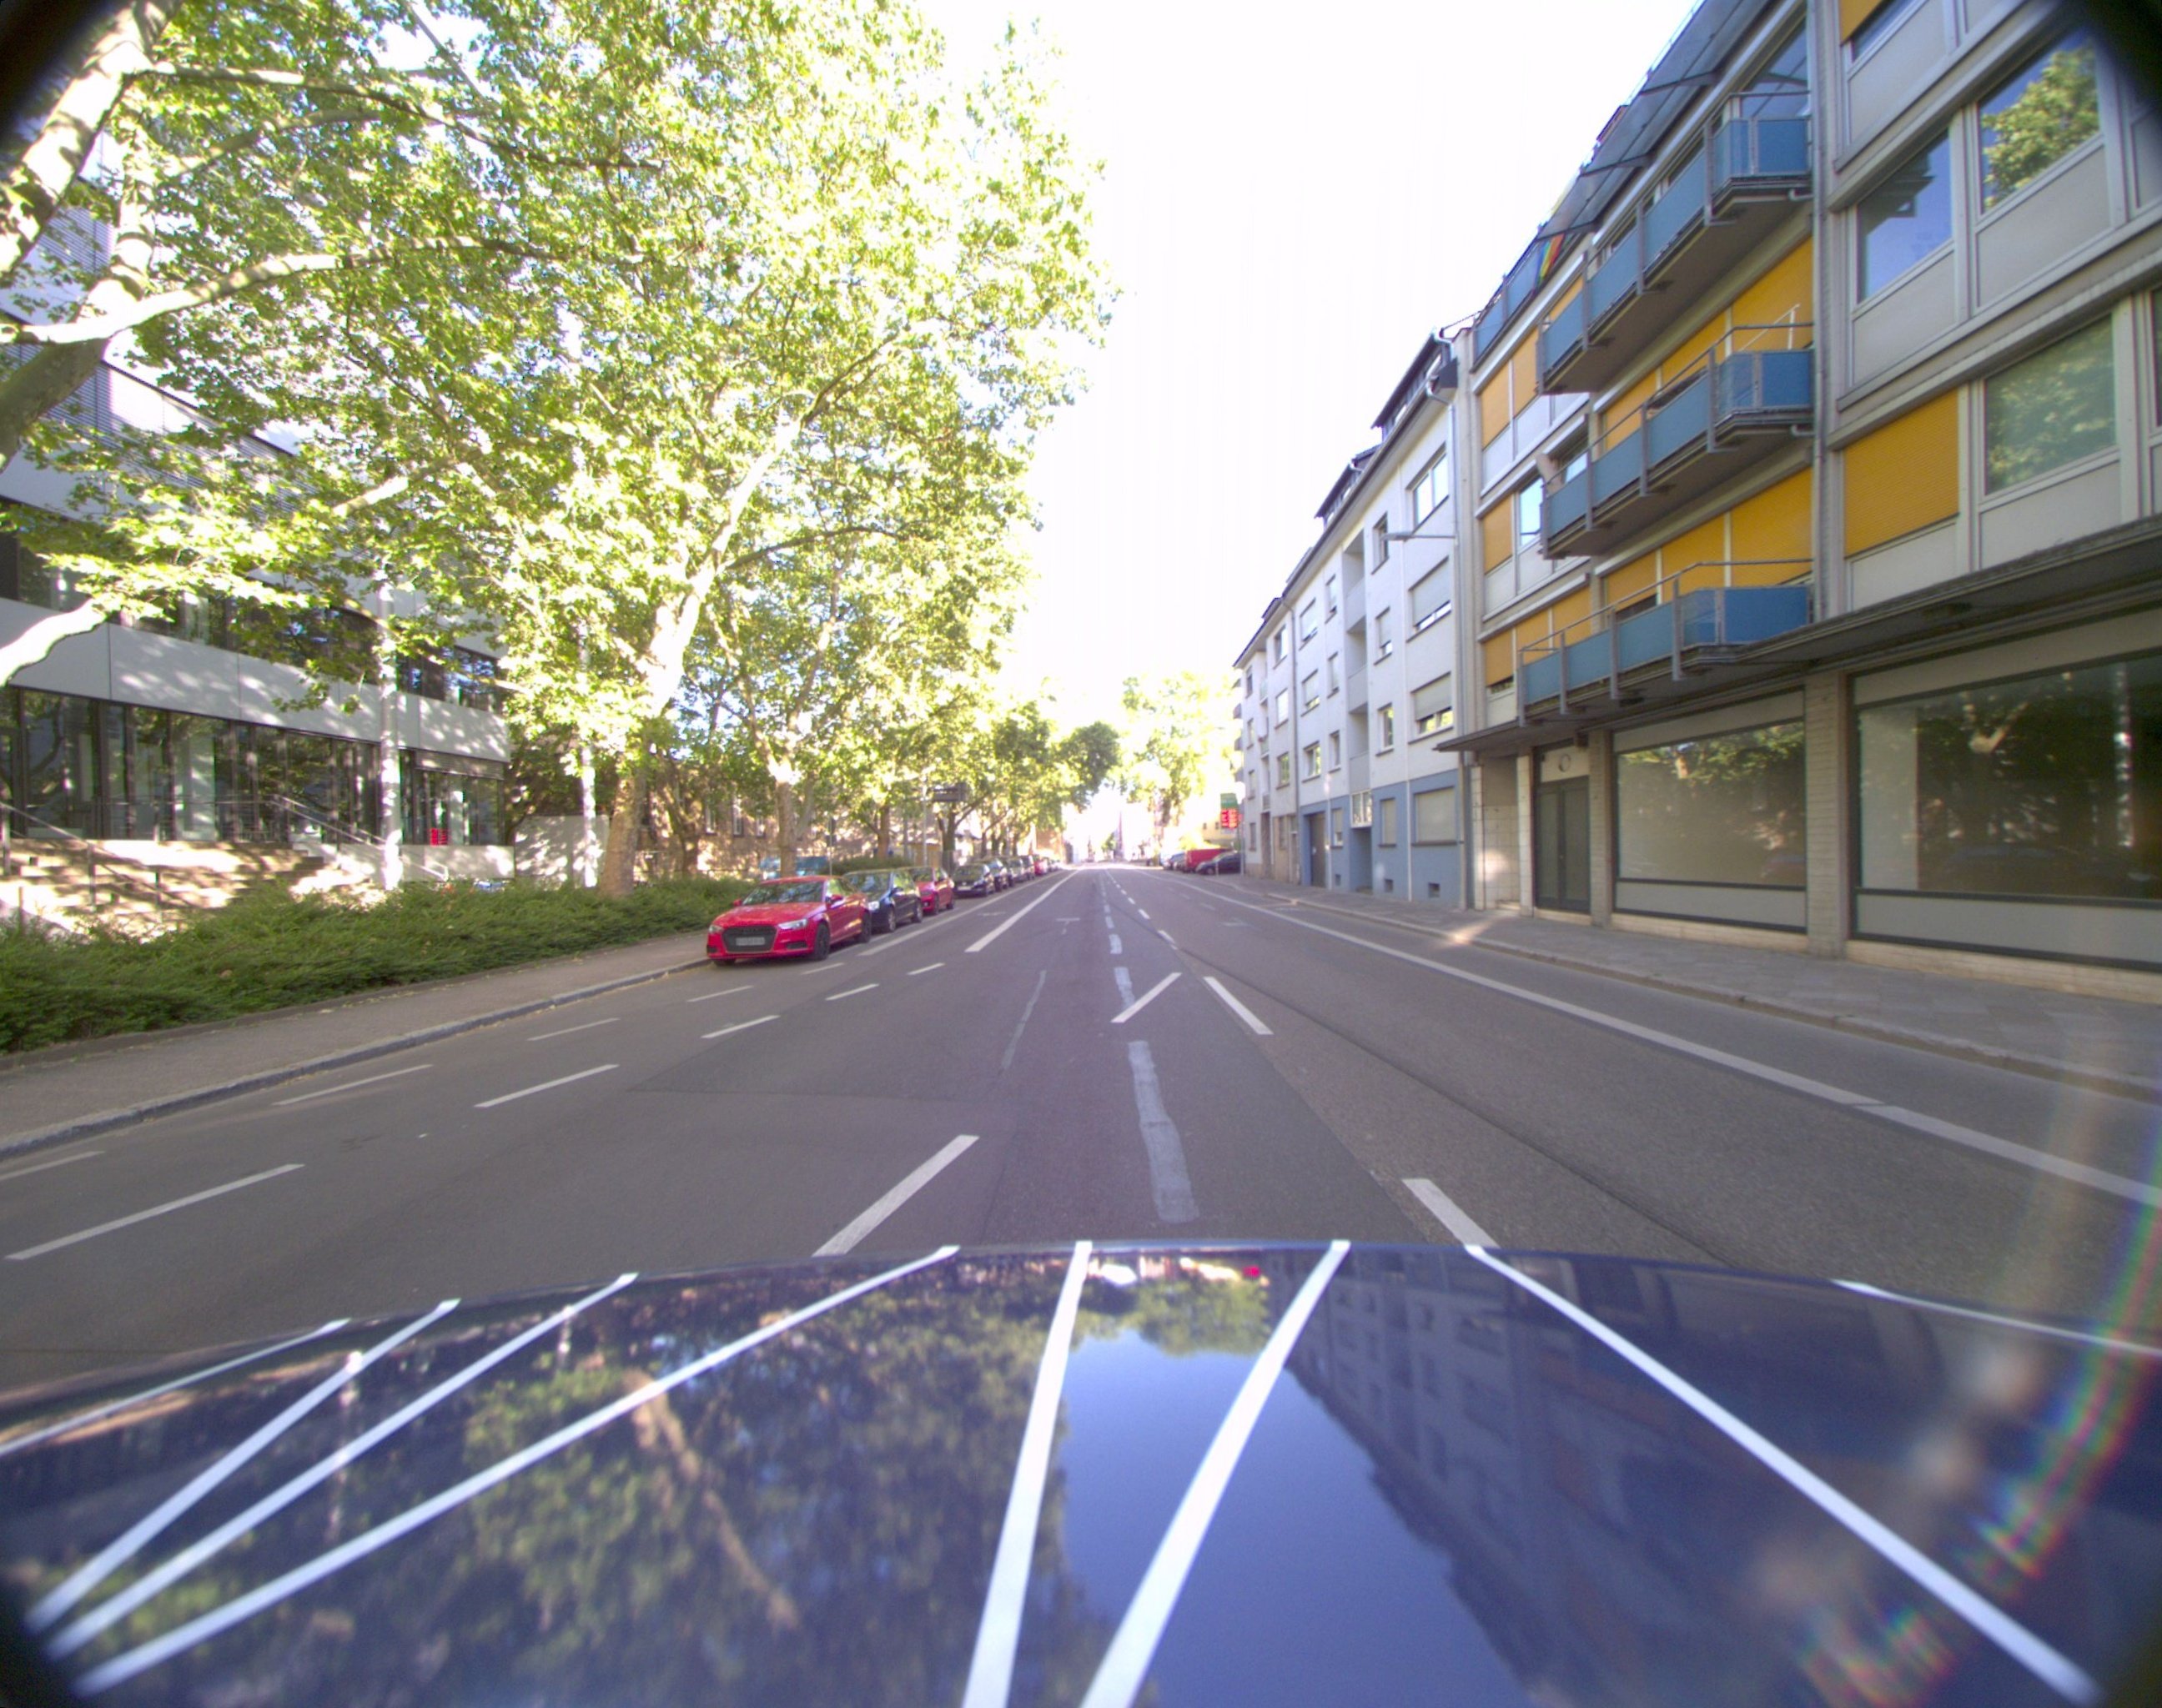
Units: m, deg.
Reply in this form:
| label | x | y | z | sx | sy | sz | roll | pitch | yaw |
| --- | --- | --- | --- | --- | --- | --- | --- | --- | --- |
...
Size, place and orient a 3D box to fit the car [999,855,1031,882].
| label | x | y | z | sx | sy | sz | roll | pitch | yaw |
| --- | --- | --- | --- | --- | --- | --- | --- | --- | --- |
| car | -4.387 | 0.953 | 50.891 | 1.697 | 1.618 | 4.329 | -4 | 0 | -1 |

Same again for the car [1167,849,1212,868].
| label | x | y | z | sx | sy | sz | roll | pitch | yaw |
| --- | --- | --- | --- | --- | --- | --- | --- | --- | --- |
| car | 10.877 | 0.436 | 76.150 | 4.204 | 1.674 | 2.028 | -3 | 0 | 1 |

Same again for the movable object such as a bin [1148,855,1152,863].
| label | x | y | z | sx | sy | sz | roll | pitch | yaw |
| --- | --- | --- | --- | --- | --- | --- | --- | --- | --- |
| movable object such as a bin | 10.484 | 0.757 | 115.347 | 0.595 | 1.065 | 0.644 | -1 | 1 | 1 |

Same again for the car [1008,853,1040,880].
| label | x | y | z | sx | sy | sz | roll | pitch | yaw |
| --- | --- | --- | --- | --- | --- | --- | --- | --- | --- |
| car | -4.118 | 0.853 | 55.426 | 1.697 | 1.802 | 4.130 | -4 | 0 | 3 |

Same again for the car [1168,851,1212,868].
| label | x | y | z | sx | sy | sz | roll | pitch | yaw |
| --- | --- | --- | --- | --- | --- | --- | --- | --- | --- |
| car | 10.474 | 0.540 | 73.208 | 3.997 | 1.447 | 1.916 | -3 | 0 | 1 |

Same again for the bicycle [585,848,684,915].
| label | x | y | z | sx | sy | sz | roll | pitch | yaw |
| --- | --- | --- | --- | --- | --- | --- | --- | --- | --- |
| bicycle | -13.995 | 0.848 | 23.856 | 2.604 | 2.002 | 0.742 | -1 | 1 | 1 |

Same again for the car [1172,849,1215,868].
| label | x | y | z | sx | sy | sz | roll | pitch | yaw |
| --- | --- | --- | --- | --- | --- | --- | --- | --- | --- |
| car | 10.484 | 0.384 | 71.043 | 3.694 | 1.504 | 1.831 | -4 | 0 | 1 |

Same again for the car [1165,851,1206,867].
| label | x | y | z | sx | sy | sz | roll | pitch | yaw |
| --- | --- | --- | --- | --- | --- | --- | --- | --- | --- |
| car | 10.827 | 0.527 | 78.685 | 3.997 | 1.424 | 1.853 | -3 | 0 | 1 |

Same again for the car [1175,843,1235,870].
| label | x | y | z | sx | sy | sz | roll | pitch | yaw |
| --- | --- | --- | --- | --- | --- | --- | --- | --- | --- |
| car | 10.203 | 0.204 | 62.923 | 4.533 | 1.940 | 2.057 | -4 | 0 | 1 |

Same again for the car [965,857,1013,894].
| label | x | y | z | sx | sy | sz | roll | pitch | yaw |
| --- | --- | --- | --- | --- | --- | --- | --- | --- | --- |
| car | -4.575 | 1.014 | 38.262 | 1.780 | 1.618 | 4.620 | -4 | 0 | 0 |

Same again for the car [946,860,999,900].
| label | x | y | z | sx | sy | sz | roll | pitch | yaw |
| --- | --- | --- | --- | --- | --- | --- | --- | --- | --- |
| car | -4.678 | 1.083 | 33.287 | 1.697 | 1.495 | 4.019 | -4 | 0 | -1 |

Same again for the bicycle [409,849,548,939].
| label | x | y | z | sx | sy | sz | roll | pitch | yaw |
| --- | --- | --- | --- | --- | --- | --- | --- | --- | --- |
| bicycle | -14.000 | 0.915 | 17.684 | 2.604 | 2.002 | 0.742 | -1 | 1 | 1 |

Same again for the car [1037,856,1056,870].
| label | x | y | z | sx | sy | sz | roll | pitch | yaw |
| --- | --- | --- | --- | --- | --- | --- | --- | --- | --- |
| car | -3.888 | 0.996 | 86.406 | 1.860 | 1.513 | 4.599 | -3 | 0 | 1 |

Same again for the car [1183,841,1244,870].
| label | x | y | z | sx | sy | sz | roll | pitch | yaw |
| --- | --- | --- | --- | --- | --- | --- | --- | --- | --- |
| car | 10.447 | 0.145 | 60.150 | 4.432 | 1.940 | 2.146 | -4 | 0 | 1 |

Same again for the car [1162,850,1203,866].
| label | x | y | z | sx | sy | sz | roll | pitch | yaw |
| --- | --- | --- | --- | --- | --- | --- | --- | --- | --- |
| car | 10.775 | 0.442 | 80.811 | 3.997 | 1.550 | 1.853 | -3 | 0 | 1 |

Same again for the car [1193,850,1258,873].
| label | x | y | z | sx | sy | sz | roll | pitch | yaw |
| --- | --- | --- | --- | --- | --- | --- | --- | --- | --- |
| car | 10.410 | 0.549 | 54.960 | 4.239 | 1.372 | 2.046 | -3 | 1 | 1 |

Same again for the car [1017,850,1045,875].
| label | x | y | z | sx | sy | sz | roll | pitch | yaw |
| --- | --- | --- | --- | --- | --- | --- | --- | --- | --- |
| car | -4.336 | 0.697 | 66.765 | 2.083 | 1.982 | 5.171 | -3 | 0 | -1 |

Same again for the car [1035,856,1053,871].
| label | x | y | z | sx | sy | sz | roll | pitch | yaw |
| --- | --- | --- | --- | --- | --- | --- | --- | --- | --- |
| car | -3.924 | 0.975 | 80.637 | 1.617 | 1.466 | 3.493 | -4 | 0 | 0 |

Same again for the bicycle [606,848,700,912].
| label | x | y | z | sx | sy | sz | roll | pitch | yaw |
| --- | --- | --- | --- | --- | --- | --- | --- | --- | --- |
| bicycle | -13.944 | 0.835 | 24.785 | 2.604 | 2.002 | 0.742 | -1 | 1 | 1 |

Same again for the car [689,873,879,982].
| label | x | y | z | sx | sy | sz | roll | pitch | yaw |
| --- | --- | --- | --- | --- | --- | --- | --- | --- | --- |
| car | -5.120 | 1.184 | 13.824 | 1.697 | 1.441 | 4.435 | -4 | 0 | -1 |

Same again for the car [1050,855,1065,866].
| label | x | y | z | sx | sy | sz | roll | pitch | yaw |
| --- | --- | --- | --- | --- | --- | --- | --- | --- | --- |
| car | -3.180 | 0.828 | 103.302 | 1.860 | 1.428 | 4.969 | -2 | 0 | -2 |

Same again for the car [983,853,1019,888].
| label | x | y | z | sx | sy | sz | roll | pitch | yaw |
| --- | --- | --- | --- | --- | --- | --- | --- | --- | --- |
| car | -4.700 | 0.903 | 44.356 | 1.830 | 1.830 | 4.896 | -4 | 0 | -7 |

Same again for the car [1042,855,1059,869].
| label | x | y | z | sx | sy | sz | roll | pitch | yaw |
| --- | --- | --- | --- | --- | --- | --- | --- | --- | --- |
| car | -3.696 | 0.936 | 92.525 | 1.860 | 1.514 | 4.297 | -3 | 0 | 0 |

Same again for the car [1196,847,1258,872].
| label | x | y | z | sx | sy | sz | roll | pitch | yaw |
| --- | --- | --- | --- | --- | --- | --- | --- | --- | --- |
| car | 10.939 | 0.404 | 57.108 | 4.183 | 1.554 | 1.886 | -4 | 0 | 1 |

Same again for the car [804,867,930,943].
| label | x | y | z | sx | sy | sz | roll | pitch | yaw |
| --- | --- | --- | --- | --- | --- | --- | --- | --- | --- |
| car | -5.034 | 1.151 | 18.495 | 1.697 | 1.458 | 4.066 | -4 | 0 | 2 |

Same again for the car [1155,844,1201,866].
| label | x | y | z | sx | sy | sz | roll | pitch | yaw |
| --- | --- | --- | --- | --- | --- | --- | --- | --- | --- |
| car | 10.884 | 0.108 | 85.369 | 4.856 | 2.204 | 2.140 | -3 | 0 | 1 |

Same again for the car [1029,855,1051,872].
| label | x | y | z | sx | sy | sz | roll | pitch | yaw |
| --- | --- | --- | --- | --- | --- | --- | --- | --- | --- |
| car | -3.849 | 0.887 | 71.658 | 1.641 | 1.476 | 3.760 | -4 | 0 | 3 |

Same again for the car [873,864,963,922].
| label | x | y | z | sx | sy | sz | roll | pitch | yaw |
| --- | --- | --- | --- | --- | --- | --- | --- | --- | --- |
| car | -4.983 | 1.154 | 23.847 | 1.697 | 1.470 | 4.318 | -4 | 0 | 1 |
